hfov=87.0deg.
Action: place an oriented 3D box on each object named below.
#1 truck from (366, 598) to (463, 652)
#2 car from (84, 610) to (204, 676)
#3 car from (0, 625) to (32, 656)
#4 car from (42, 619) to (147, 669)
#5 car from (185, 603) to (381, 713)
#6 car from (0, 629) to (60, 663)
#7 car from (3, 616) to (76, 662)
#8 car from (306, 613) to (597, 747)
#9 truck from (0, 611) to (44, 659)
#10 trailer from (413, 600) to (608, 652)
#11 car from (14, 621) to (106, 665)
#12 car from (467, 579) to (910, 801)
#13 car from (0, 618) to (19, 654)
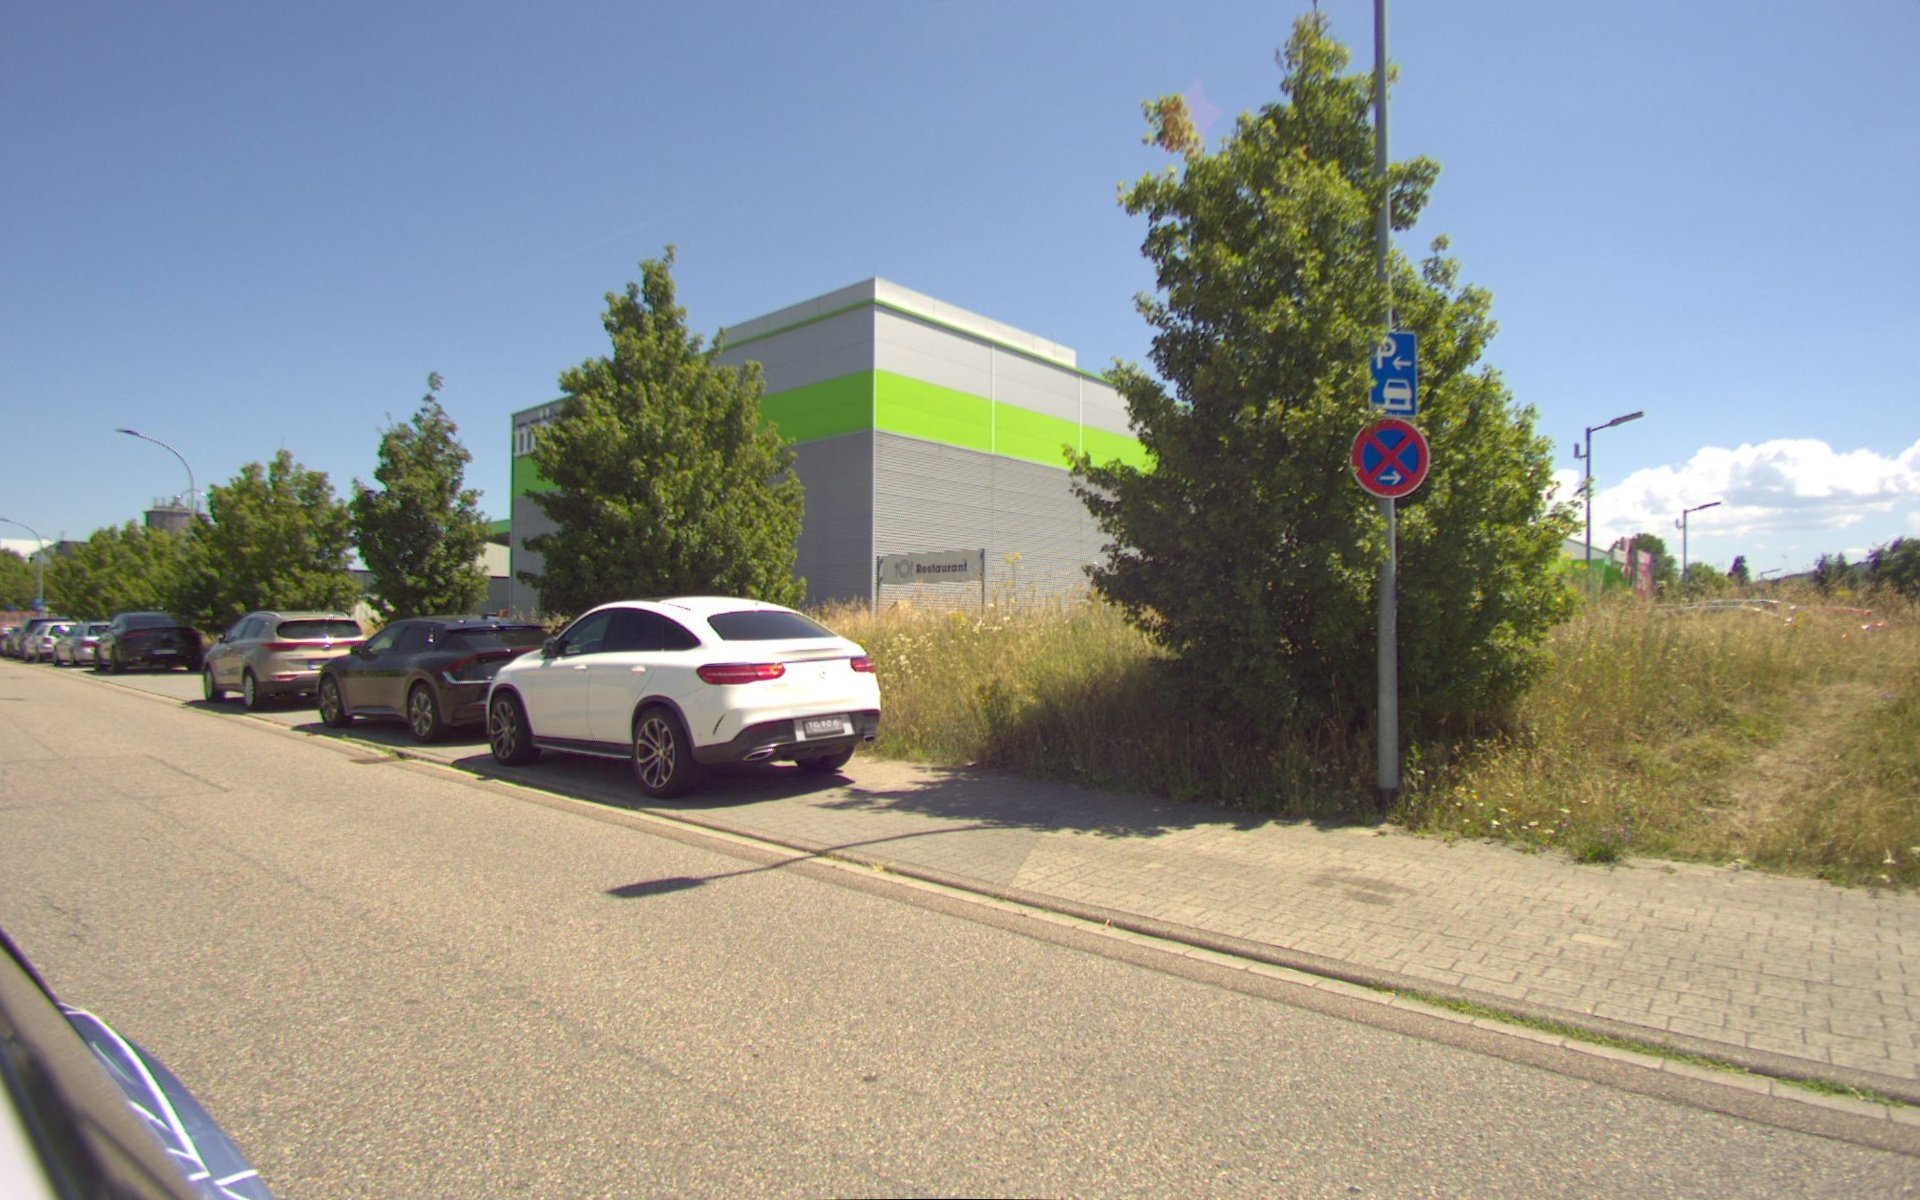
[{"bbox_3d":[-43.382,2.056,80.585,3.219,4.119,6.039,-2,-4,43],"label":"truck"},{"bbox_3d":[-23.727,1.214,29.370,5.006,1.726,1.970,-2,-1,42],"label":"car"},{"bbox_3d":[-49.556,2.071,52.318,3.764,1.562,1.832,-1,-3,40],"label":"car"},{"bbox_3d":[-29.187,1.457,34.072,5.162,1.530,1.833,-2,-1,39],"label":"car"},{"bbox_3d":[-12.204,0.964,18.129,4.411,1.726,1.892,-2,-1,42],"label":"car"},{"bbox_3d":[-42.209,2.050,45.687,4.752,1.454,1.832,-2,-1,42],"label":"car"},{"bbox_3d":[-38.118,1.601,41.883,4.986,1.772,1.831,-2,-1,43],"label":"car"},{"bbox_3d":[-6.986,0.977,13.721,4.408,1.503,1.894,-2,-1,39],"label":"car"},{"bbox_3d":[-45.913,1.687,48.971,4.644,2.239,1.832,-2,-1,41],"label":"truck"},{"bbox_3d":[-37.991,2.365,86.453,3.219,4.119,15.153,-2,-4,43],"label":"trailer"},{"bbox_3d":[-33.711,1.586,37.853,4.900,1.530,1.833,-2,-1,39],"label":"car"},{"bbox_3d":[-2.843,0.772,9.928,4.753,1.668,1.892,-2,-4,42],"label":"car"},{"bbox_3d":[-54.456,2.004,56.740,5.401,1.915,1.953,-1,-3,42],"label":"car"}]
